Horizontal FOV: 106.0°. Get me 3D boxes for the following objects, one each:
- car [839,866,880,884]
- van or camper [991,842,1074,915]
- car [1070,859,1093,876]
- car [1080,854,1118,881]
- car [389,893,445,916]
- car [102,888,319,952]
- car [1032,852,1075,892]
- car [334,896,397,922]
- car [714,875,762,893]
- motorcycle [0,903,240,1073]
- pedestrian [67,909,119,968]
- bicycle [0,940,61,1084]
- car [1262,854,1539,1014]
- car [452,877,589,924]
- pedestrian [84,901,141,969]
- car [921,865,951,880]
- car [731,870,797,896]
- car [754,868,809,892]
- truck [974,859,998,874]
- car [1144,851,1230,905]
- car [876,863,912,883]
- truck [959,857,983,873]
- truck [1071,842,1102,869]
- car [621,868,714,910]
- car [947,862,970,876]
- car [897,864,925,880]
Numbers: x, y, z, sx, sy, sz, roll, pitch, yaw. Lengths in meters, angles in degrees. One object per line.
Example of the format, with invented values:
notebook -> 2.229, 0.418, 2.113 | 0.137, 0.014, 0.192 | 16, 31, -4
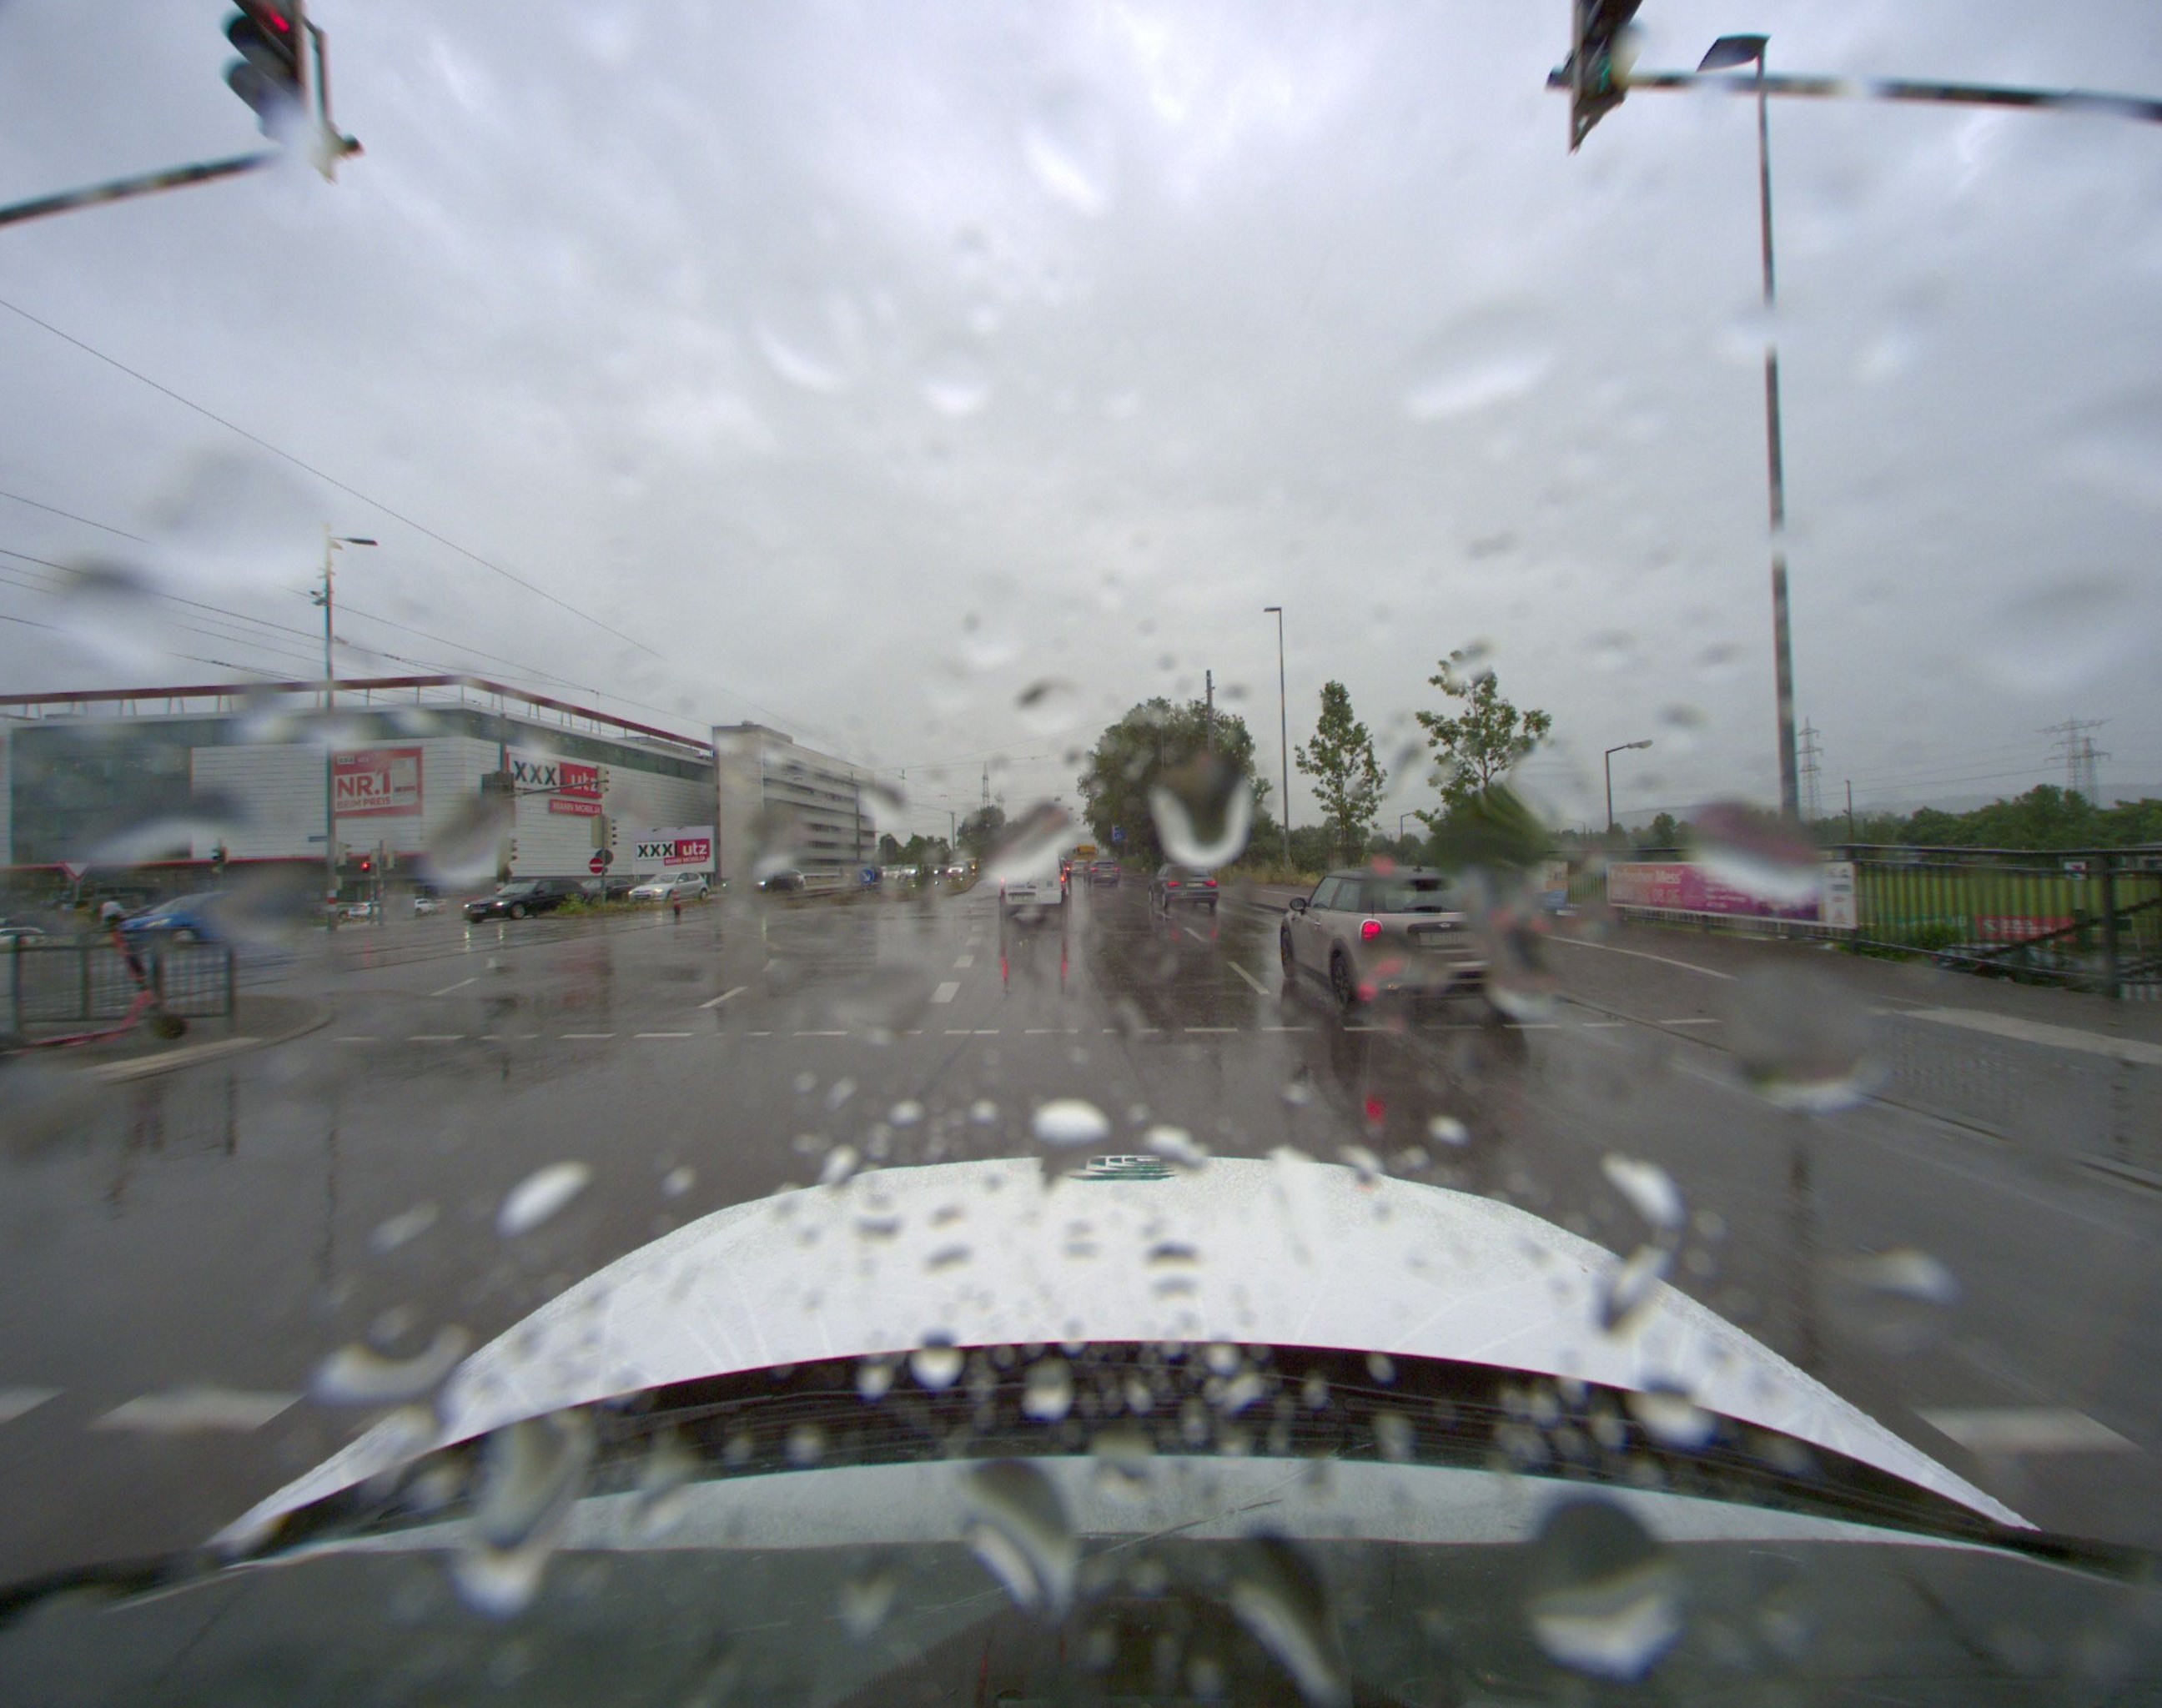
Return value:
car -> -17.012, 1.616, 62.846 | 1.705, 1.249, 4.466 | 0, 1, 3
van or camper -> -1.203, 0.587, 22.019 | 1.987, 1.784, 4.000 | 0, 1, 0
car -> 0.056, 1.217, 73.778 | 1.810, 1.414, 3.782 | -1, 0, 3
car -> 0.973, 0.748, 46.140 | 1.815, 1.414, 3.772 | -1, 0, -4
car -> -63.623, 4.796, 78.120 | 1.987, 2.014, 3.999 | 0, 0, 0
car -> -23.919, 1.748, 22.605 | 1.573, 1.414, 3.922 | 0, 1, 6
car -> -1.305, 0.798, 38.550 | 1.895, 1.717, 4.721 | -1, 0, -2
car -> -63.720, 4.879, 72.632 | 1.987, 2.014, 3.999 | 0, 0, 0
car -> -27.128, 2.328, 64.582 | 1.703, 1.249, 4.056 | 0, 1, 8
motorcycle -> -8.420, 1.089, 7.104 | 0.522, 1.221, 1.409 | 1, 1, 23
pedestrian -> -32.099, 2.728, 26.472 | 0.712, 1.818, 0.767 | 0, -1, -5
bicycle -> -8.845, 1.175, 5.976 | 1.859, 1.008, 0.670 | 0, 0, 0
car -> 3.321, 0.731, 9.307 | 1.784, 1.414, 3.856 | -1, 0, 2
car -> -19.913, 1.604, 29.169 | 1.573, 1.366, 4.210 | 0, 1, 8
pedestrian -> -30.046, 2.494, 25.274 | 0.693, 2.014, 0.856 | 0, -1, -5
car -> -15.334, 1.967, 86.455 | 1.914, 1.423, 5.089 | 0, 1, 4
car -> -17.765, 1.585, 45.856 | 1.703, 1.249, 4.056 | 0, 1, 8
car -> -20.756, 1.791, 56.712 | 1.804, 1.436, 4.718 | 0, 1, 4
truck -> -15.727, 2.037, 135.508 | 2.423, 2.458, 7.230 | 0, 0, 6
car -> 3.273, 0.697, 25.897 | 1.964, 1.528, 3.985 | -1, 0, -4
car -> -16.103, 1.613, 70.456 | 1.703, 1.535, 4.056 | 0, 1, 8
truck -> -16.900, 1.707, 125.230 | 2.216, 2.462, 6.076 | 0, -1, 6
truck -> 0.701, 0.171, 89.180 | 3.101, 2.773, 6.333 | -1, 0, 2
car -> -19.212, 1.595, 38.052 | 1.703, 1.708, 4.437 | 0, 1, 6
car -> -14.768, 1.842, 98.495 | 1.865, 1.573, 4.333 | 0, 1, 4
car -> -18.666, 1.977, 89.418 | 1.900, 1.606, 4.844 | 1, 0, 2
